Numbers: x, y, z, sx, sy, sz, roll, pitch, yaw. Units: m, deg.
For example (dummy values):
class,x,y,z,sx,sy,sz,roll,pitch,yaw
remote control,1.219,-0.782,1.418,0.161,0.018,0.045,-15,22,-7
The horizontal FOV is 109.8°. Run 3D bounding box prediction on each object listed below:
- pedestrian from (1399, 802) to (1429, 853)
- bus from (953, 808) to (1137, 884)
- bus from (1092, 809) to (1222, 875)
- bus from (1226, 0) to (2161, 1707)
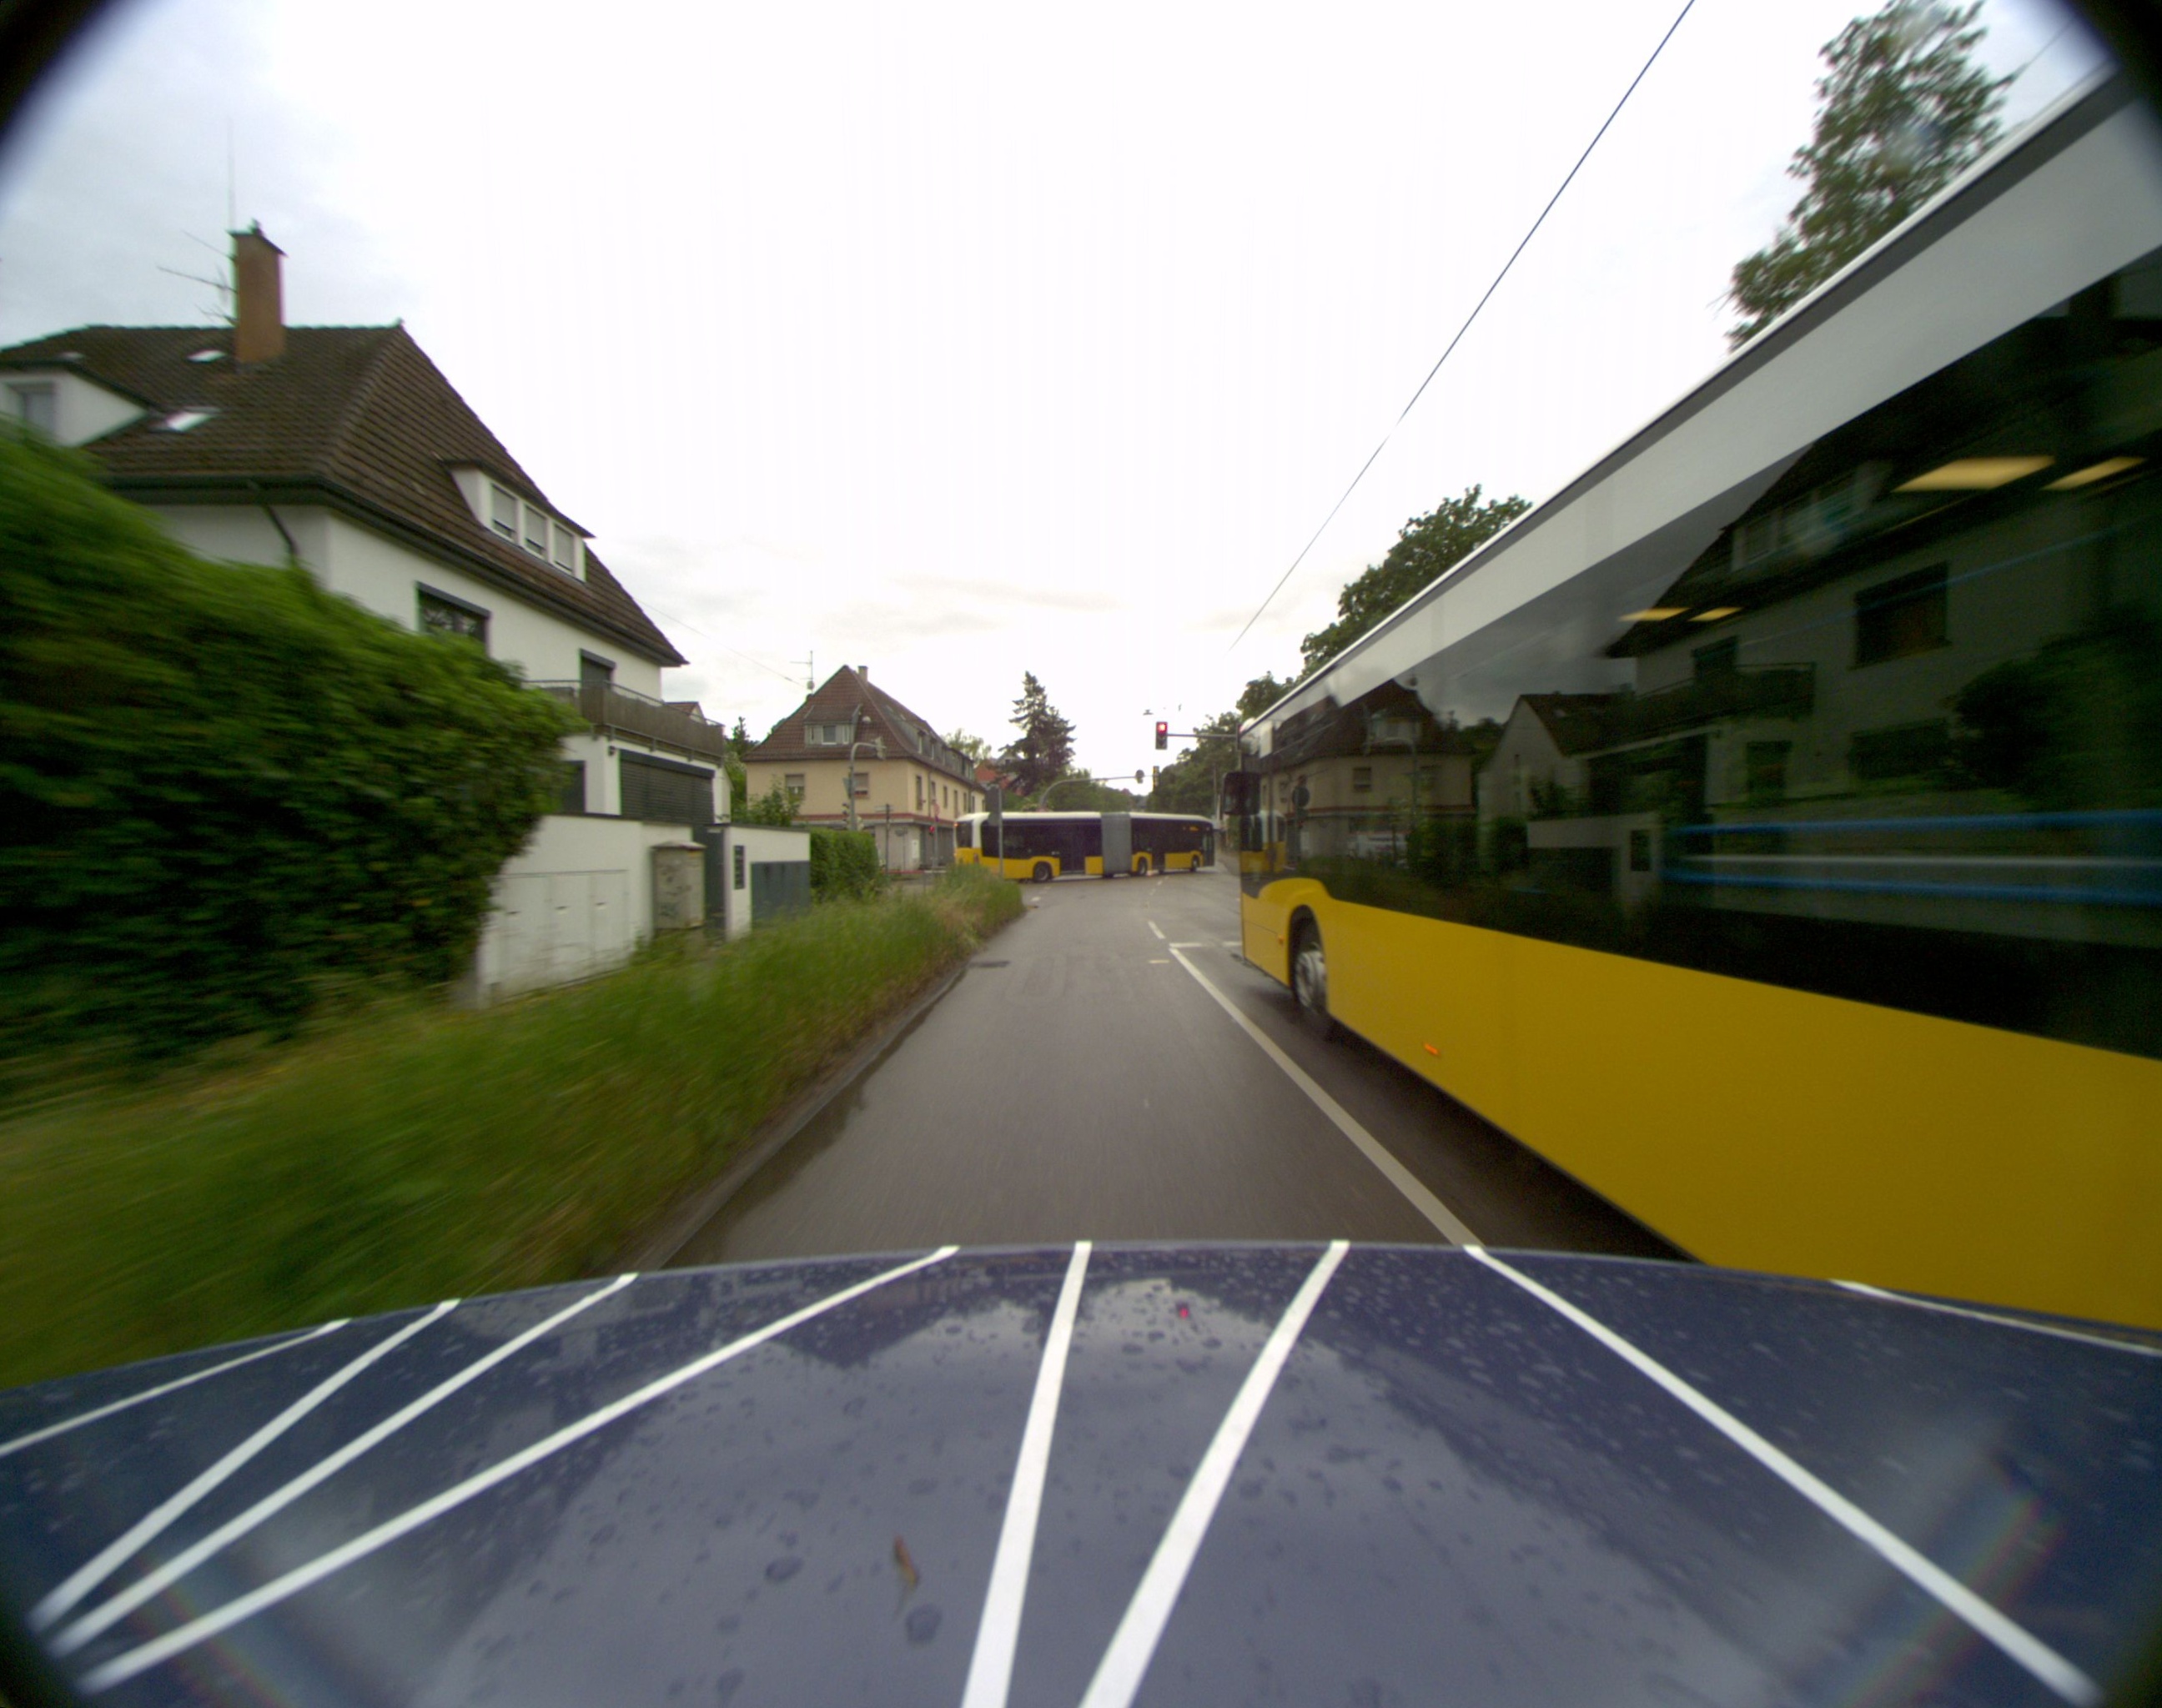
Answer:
class,x,y,z,sx,sy,sz,roll,pitch,yaw
pedestrian,11.928,-0.931,27.242,0.778,1.790,0.763,-1,2,3
bus,-1.627,-0.453,37.160,8.693,3.379,2.679,-2,1,-31
bus,4.593,-0.722,43.540,2.901,3.379,9.058,-1,1,38
bus,2.954,0.111,3.767,2.650,3.027,9.228,-2,1,0
